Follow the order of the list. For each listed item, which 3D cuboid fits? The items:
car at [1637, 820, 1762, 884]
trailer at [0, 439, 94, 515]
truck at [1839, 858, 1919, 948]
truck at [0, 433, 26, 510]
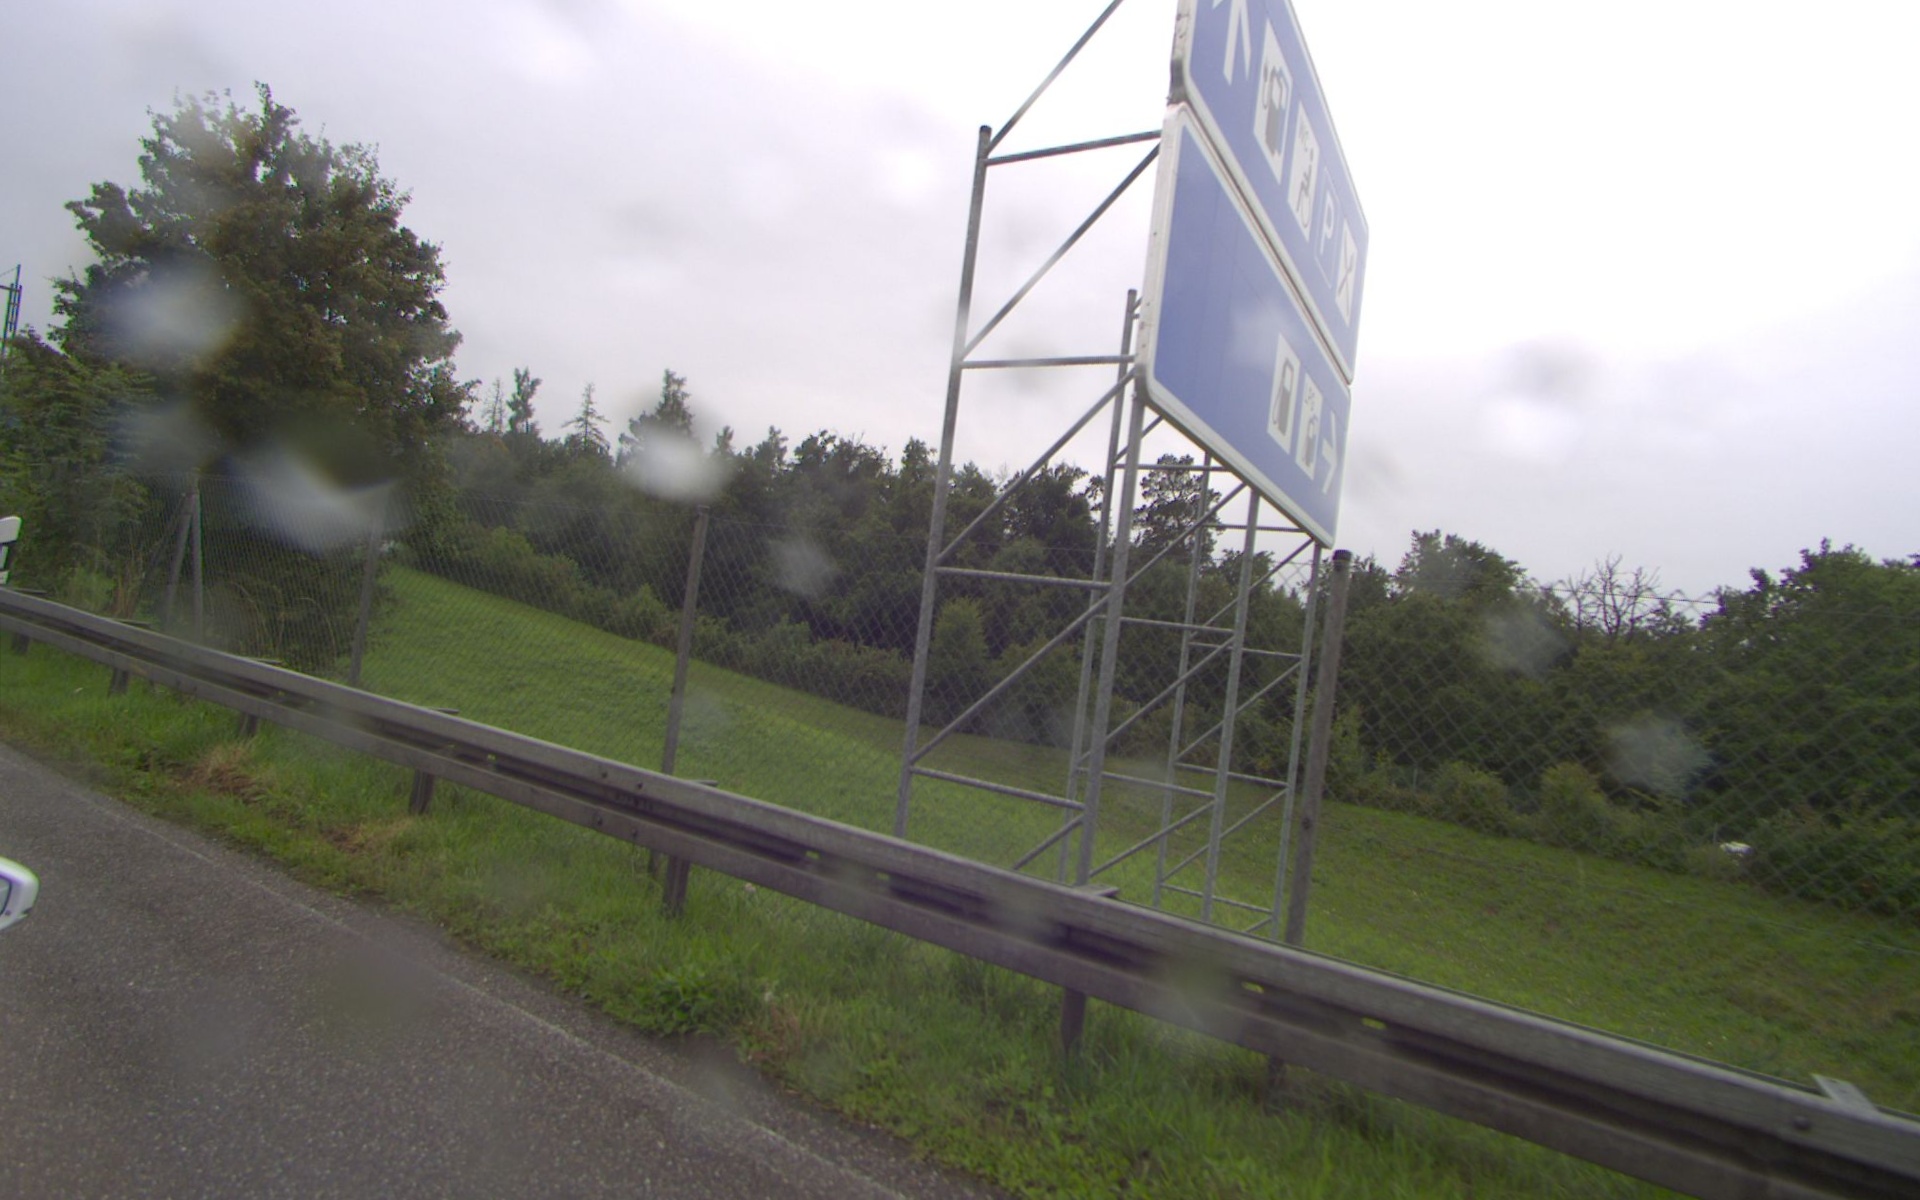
[{"bbox_3d":[31.052,10.577,42.397,3.934,1.678,1.889,7,-7,32],"label":"car"},{"bbox_3d":[-51.252,-6.777,55.854,2.161,3.433,7.524,8,0,-22],"label":"trailer"},{"bbox_3d":[36.306,11.317,34.963,8.131,2.685,2.837,7,-7,34],"label":"truck"},{"bbox_3d":[-46.589,-6.261,47.603,2.130,3.555,4.611,8,0,-29],"label":"truck"}]
